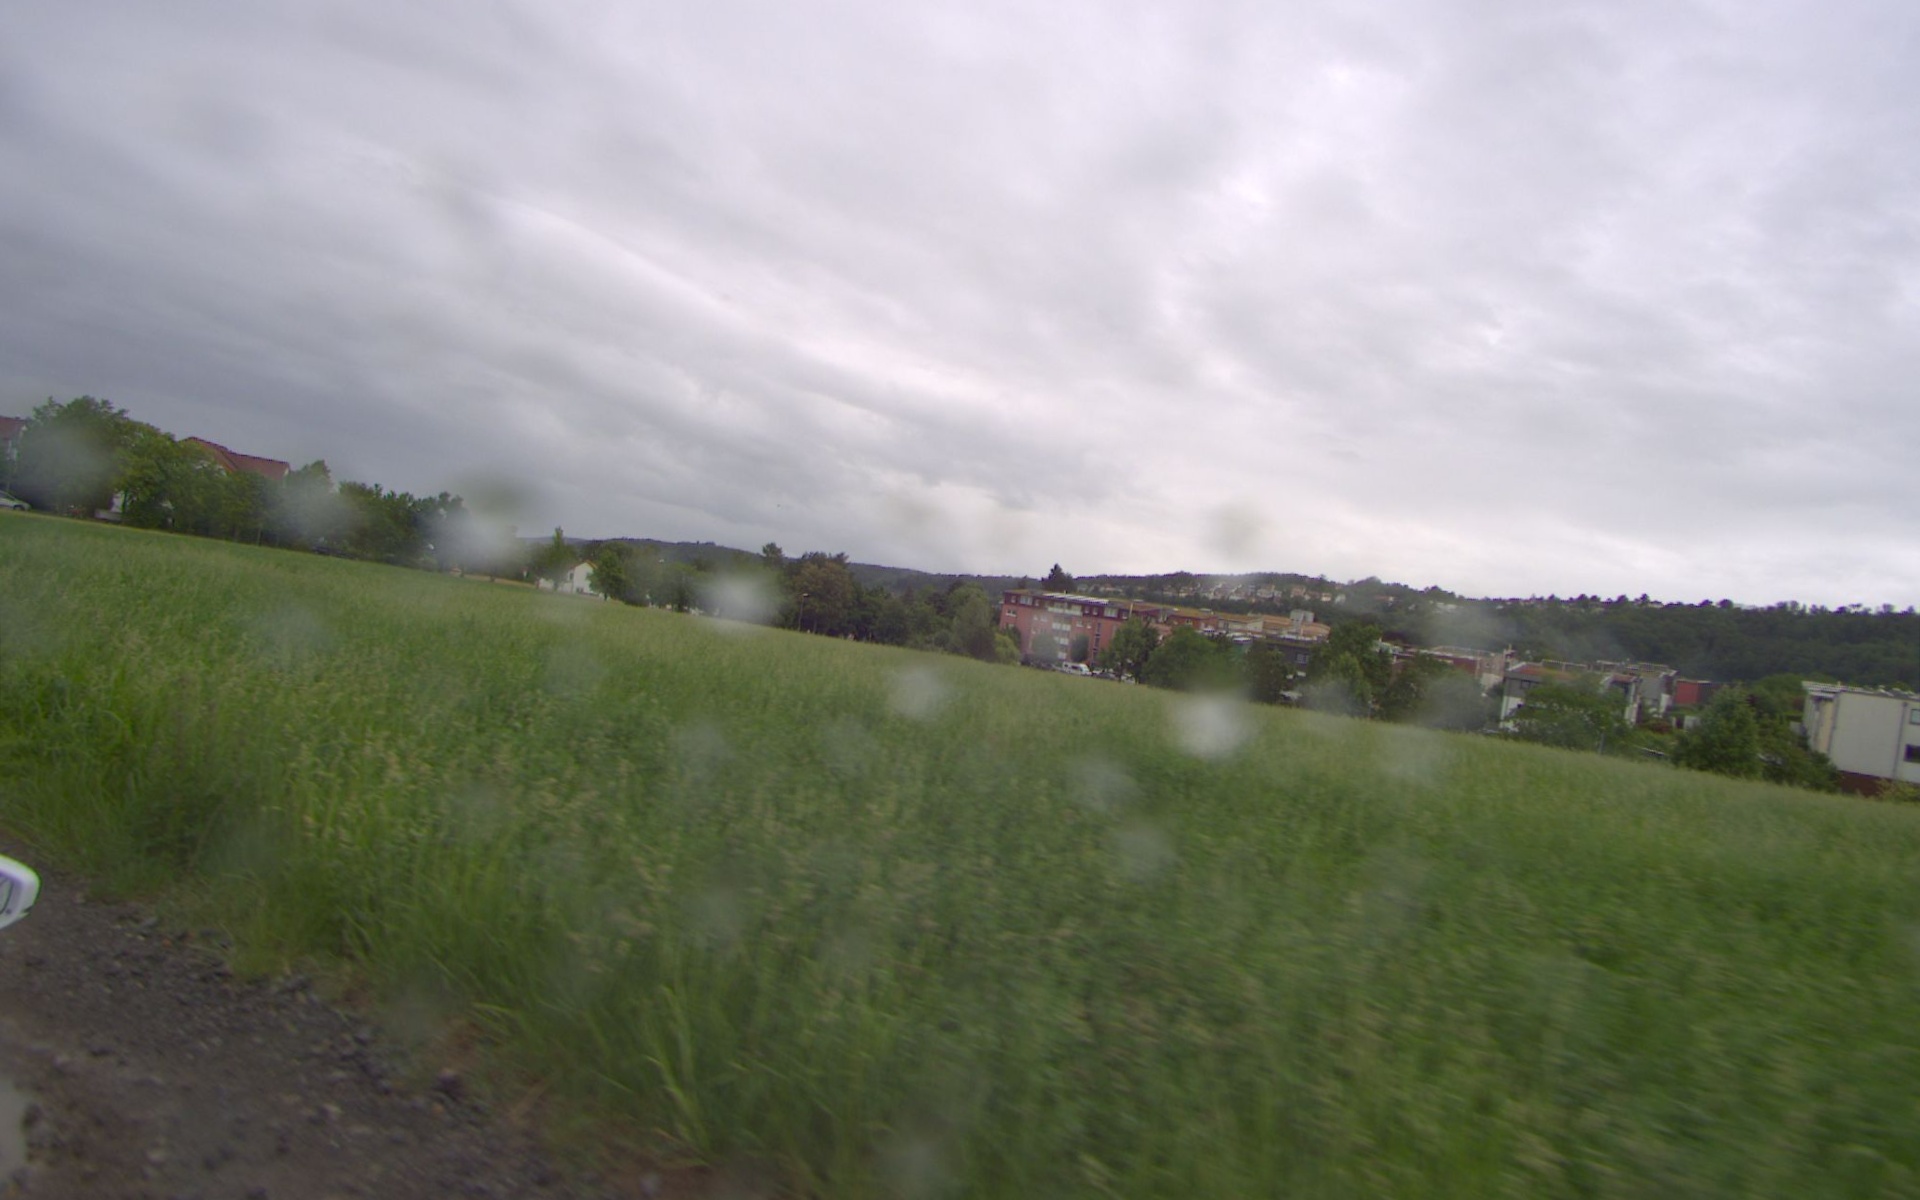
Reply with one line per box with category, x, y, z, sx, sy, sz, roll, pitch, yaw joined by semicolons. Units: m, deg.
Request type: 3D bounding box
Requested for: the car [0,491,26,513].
car;-83.419;-8.669;86.964;1.590;1.582;3.702;5;-3;45
